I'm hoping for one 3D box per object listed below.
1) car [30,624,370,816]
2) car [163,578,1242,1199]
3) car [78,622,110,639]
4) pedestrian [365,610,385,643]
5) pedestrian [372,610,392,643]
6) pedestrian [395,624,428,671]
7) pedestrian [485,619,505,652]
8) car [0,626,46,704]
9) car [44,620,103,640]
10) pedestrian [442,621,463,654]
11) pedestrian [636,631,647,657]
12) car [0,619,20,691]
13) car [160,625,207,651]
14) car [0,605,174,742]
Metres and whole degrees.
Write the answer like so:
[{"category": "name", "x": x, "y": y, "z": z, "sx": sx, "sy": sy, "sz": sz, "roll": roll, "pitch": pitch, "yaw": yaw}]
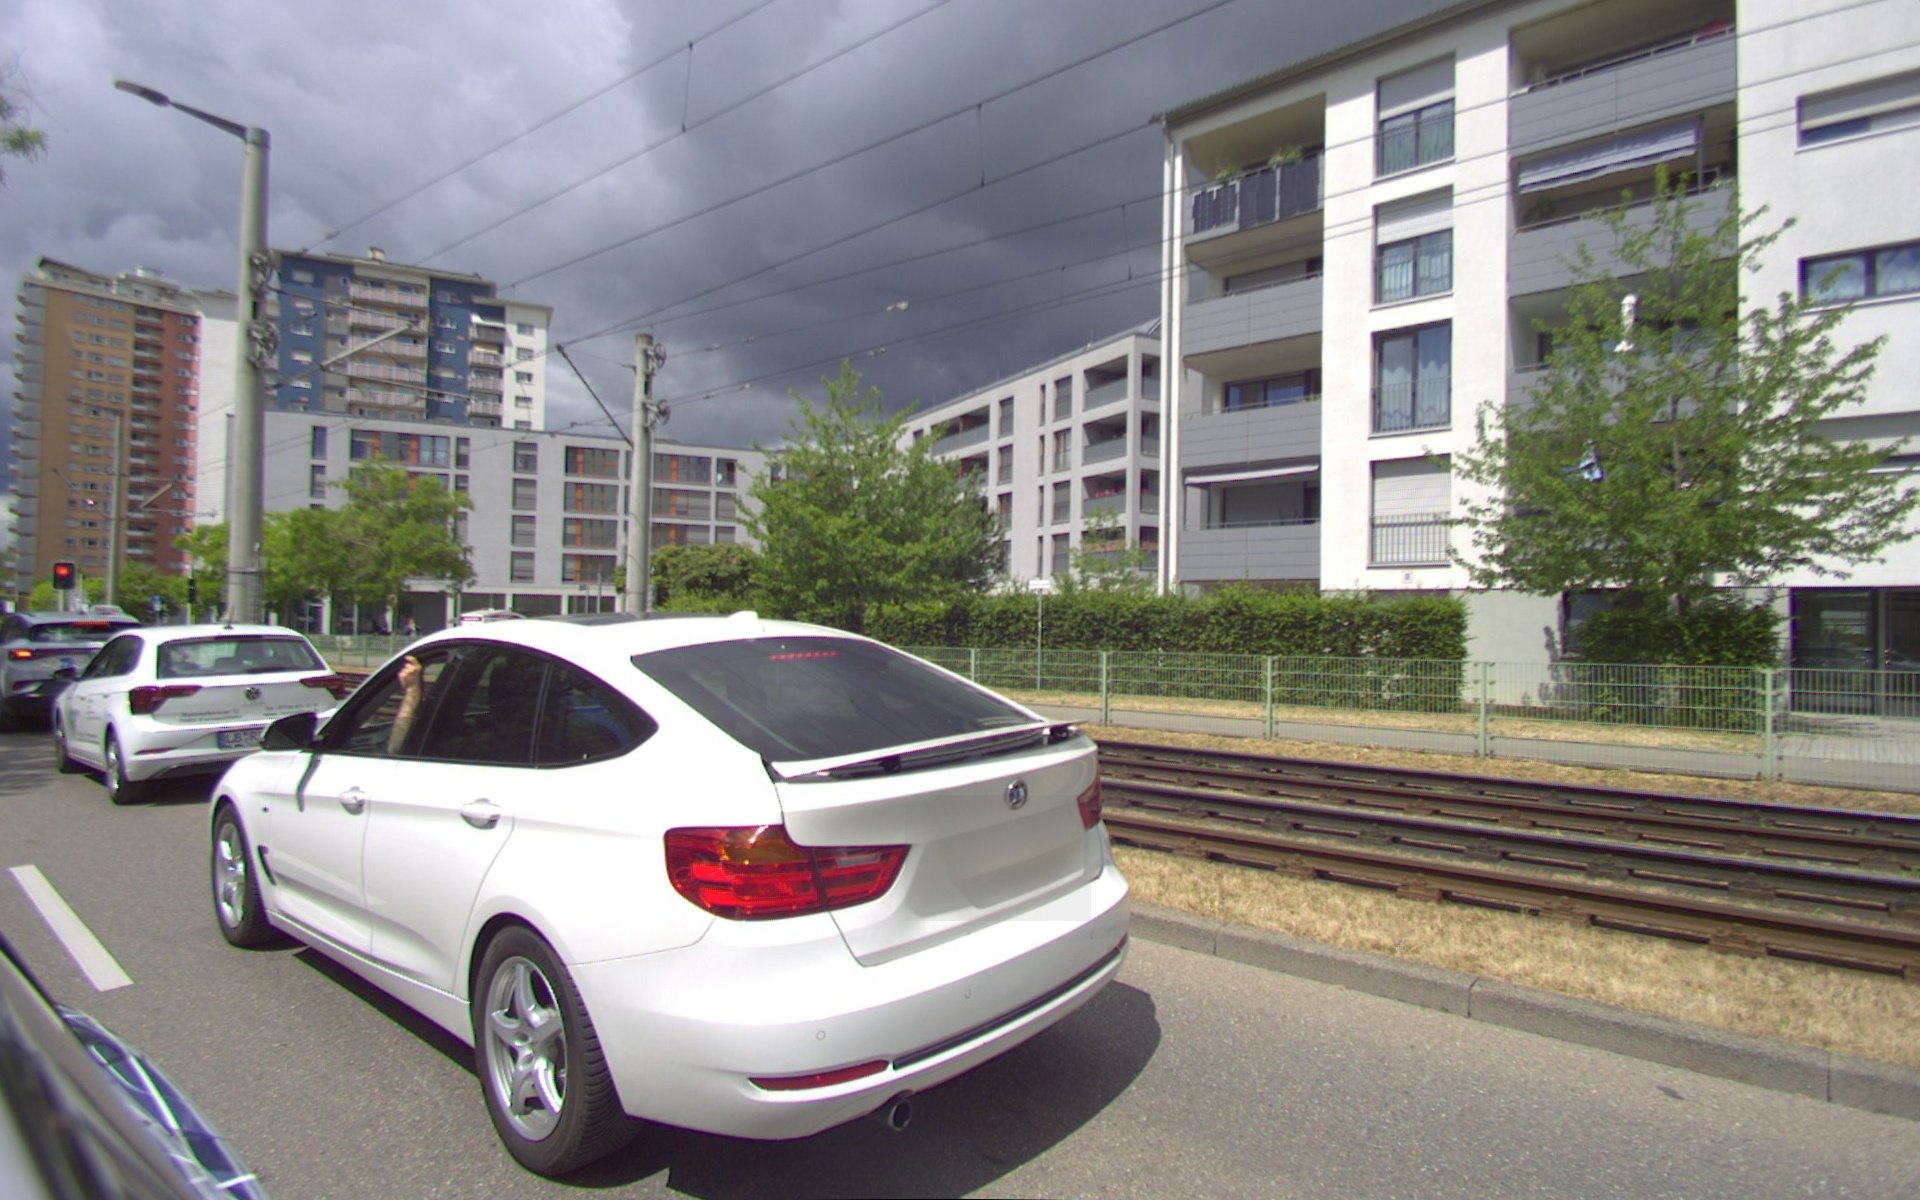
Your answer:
[{"category": "car", "x": -7.316, "y": 0.957, "z": 9.606, "sx": 3.936, "sy": 1.417, "sz": 1.729, "roll": -1, "pitch": -1, "yaw": 40}, {"category": "car", "x": -1.523, "y": 0.752, "z": 4.102, "sx": 4.834, "sy": 1.514, "sz": 1.798, "roll": -1, "pitch": -1, "yaw": 41}, {"category": "car", "x": -83.141, "y": 2.917, "z": 97.132, "sx": 3.801, "sy": 1.672, "sz": 1.758, "roll": -1, "pitch": -2, "yaw": 40}, {"category": "pedestrian", "x": -30.346, "y": 1.374, "z": 52.525, "sx": 0.538, "sy": 1.666, "sz": 0.739, "roll": -1, "pitch": -2, "yaw": 41}, {"category": "pedestrian", "x": -29.759, "y": 1.369, "z": 52.083, "sx": 0.538, "sy": 1.666, "sz": 0.739, "roll": -1, "pitch": -2, "yaw": 41}, {"category": "pedestrian", "x": -19.380, "y": 1.677, "z": 35.756, "sx": 0.937, "sy": 1.625, "sz": 0.746, "roll": -1, "pitch": -2, "yaw": 41}, {"category": "pedestrian", "x": -23.075, "y": 1.767, "z": 50.214, "sx": 0.744, "sy": 1.623, "sz": 0.535, "roll": -1, "pitch": -1, "yaw": 19}, {"category": "car", "x": -19.787, "y": 1.253, "z": 20.199, "sx": 4.463, "sy": 1.456, "sz": 1.792, "roll": -1, "pitch": -2, "yaw": 42}, {"category": "car", "x": -86.981, "y": 2.947, "z": 99.376, "sx": 1.856, "sy": 1.940, "sz": 4.496, "roll": 0, "pitch": -1, "yaw": 0}, {"category": "pedestrian", "x": -31.529, "y": 2.295, "z": 62.852, "sx": 0.905, "sy": 2.029, "sz": 0.728, "roll": -1, "pitch": -2, "yaw": 23}, {"category": "pedestrian", "x": -23.687, "y": 3.288, "z": 75.197, "sx": 0.737, "sy": 1.920, "sz": 0.540, "roll": 0, "pitch": -2, "yaw": -22}, {"category": "car", "x": -24.317, "y": 1.297, "z": 24.596, "sx": 4.176, "sy": 1.672, "sz": 1.837, "roll": -1, "pitch": -2, "yaw": 43}, {"category": "car", "x": -50.258, "y": 2.425, "z": 65.470, "sx": 3.805, "sy": 1.635, "sz": 1.867, "roll": -1, "pitch": -2, "yaw": 45}, {"category": "car", "x": -13.174, "y": 0.967, "z": 14.711, "sx": 4.429, "sy": 1.703, "sz": 1.839, "roll": -1, "pitch": -2, "yaw": 40}]
